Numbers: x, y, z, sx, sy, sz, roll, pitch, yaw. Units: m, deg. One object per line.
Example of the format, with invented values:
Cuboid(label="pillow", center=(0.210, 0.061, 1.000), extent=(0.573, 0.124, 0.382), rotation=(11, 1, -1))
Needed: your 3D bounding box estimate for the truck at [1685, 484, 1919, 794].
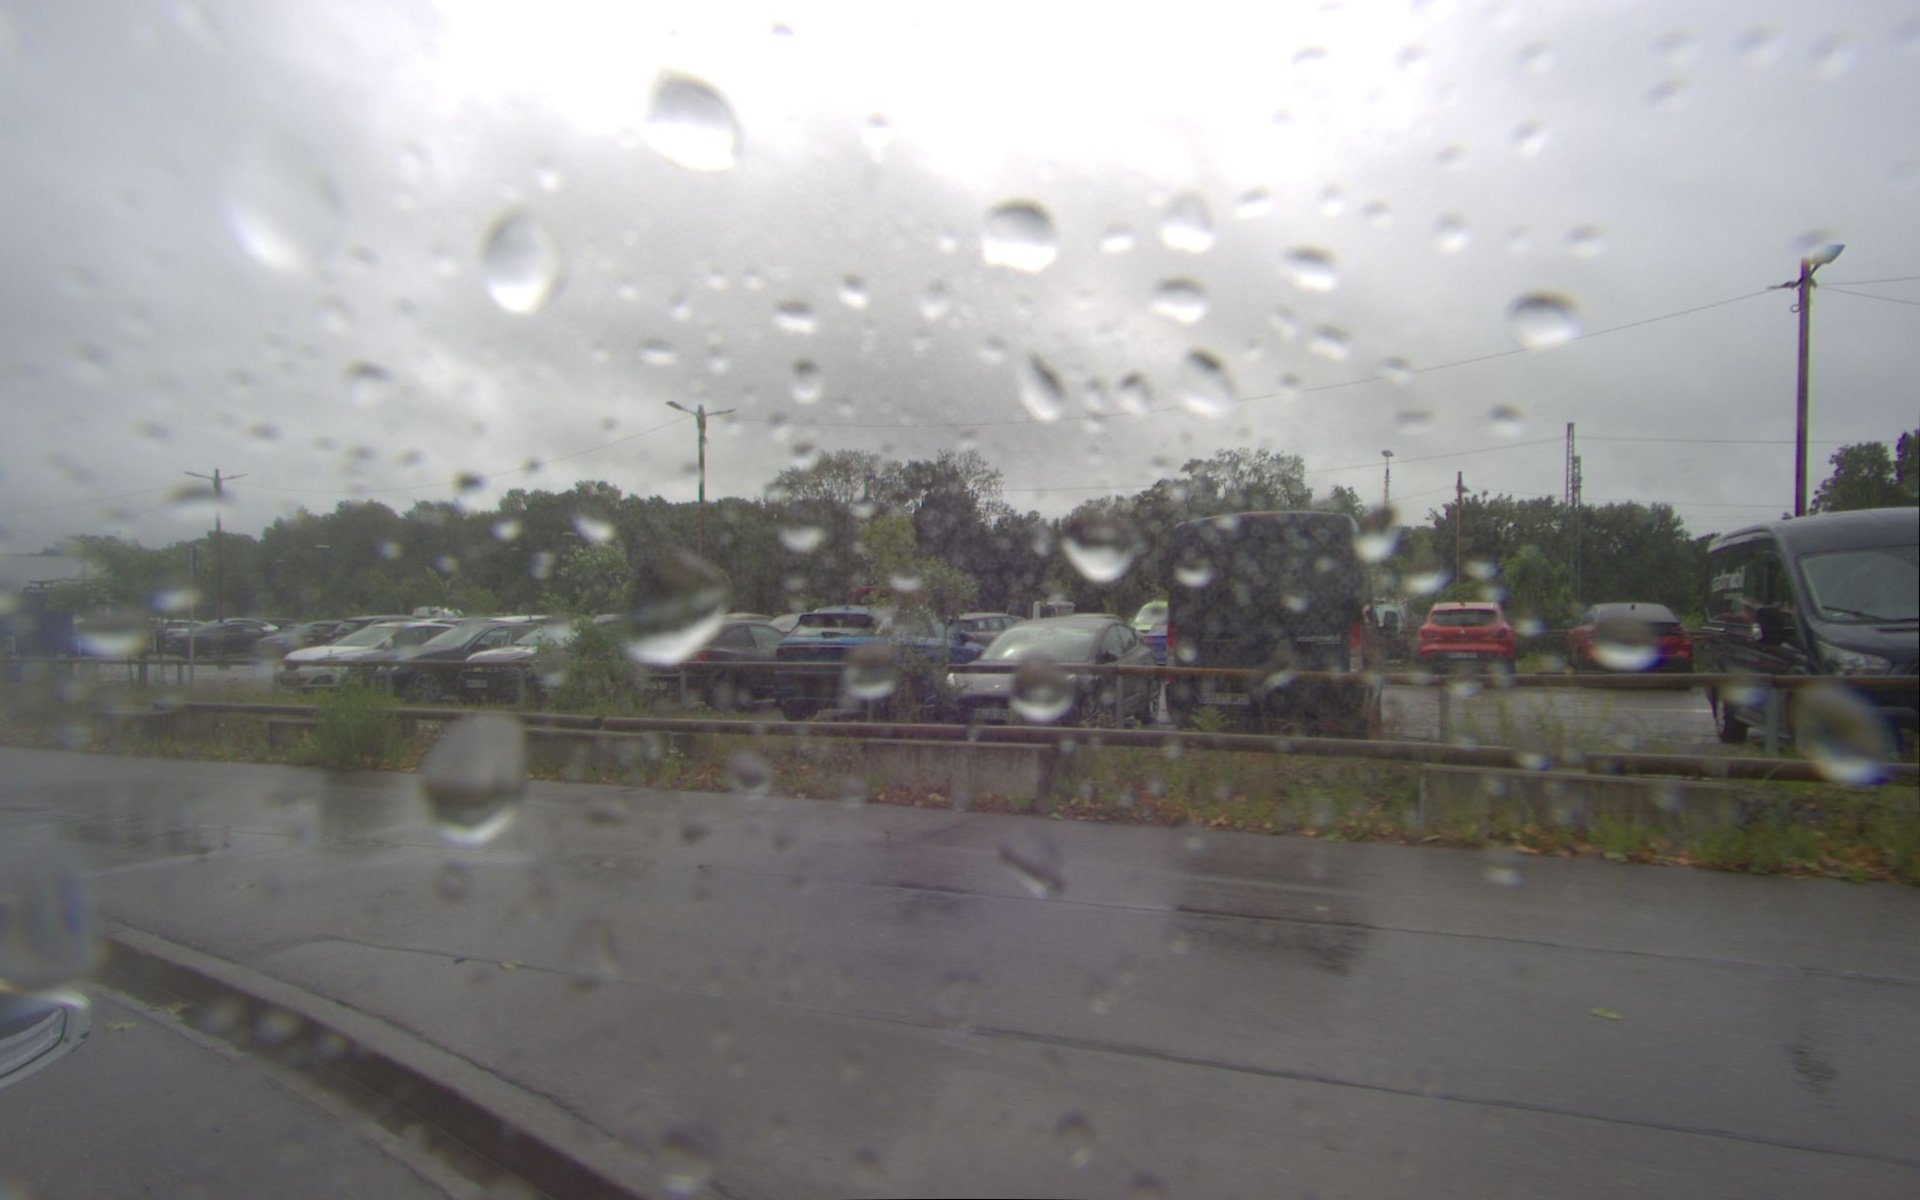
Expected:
Cuboid(label="truck", center=(8.844, 0.371, 9.781), extent=(2.042, 2.352, 5.328), rotation=(-1, -2, 27))

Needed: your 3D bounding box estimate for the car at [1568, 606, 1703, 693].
Cuboid(label="car", center=(13.084, 0.901, 19.613), extent=(1.815, 1.468, 3.981), rotation=(-2, 0, 29))

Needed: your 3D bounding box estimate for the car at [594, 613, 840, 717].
Cuboid(label="car", center=(-3.679, 0.978, 15.828), extent=(1.750, 1.412, 3.897), rotation=(-2, -2, 25))

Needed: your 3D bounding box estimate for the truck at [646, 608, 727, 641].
Cuboid(label="truck", center=(-17.853, 1.552, 65.315), extent=(5.198, 2.040, 2.079), rotation=(0, 0, 29))

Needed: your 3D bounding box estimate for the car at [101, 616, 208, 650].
Cuboid(label="car", center=(-43.217, 1.741, 53.813), extent=(1.897, 1.626, 4.055), rotation=(-2, 0, 28))

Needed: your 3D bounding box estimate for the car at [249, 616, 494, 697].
Cuboid(label="car", center=(-11.372, 1.072, 19.638), extent=(1.875, 1.411, 3.773), rotation=(-2, -2, 25))

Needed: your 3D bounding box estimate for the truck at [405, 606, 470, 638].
Cuboid(label="truck", center=(-41.107, 1.686, 78.778), extent=(5.004, 2.433, 2.071), rotation=(0, 0, 27))

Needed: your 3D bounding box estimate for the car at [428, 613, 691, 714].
Cuboid(label="car", center=(-6.414, 0.992, 16.482), extent=(1.750, 1.440, 3.897), rotation=(-2, -2, 25))

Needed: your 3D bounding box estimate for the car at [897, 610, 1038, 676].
Cuboid(label="car", center=(0.283, 1.034, 25.112), extent=(1.859, 1.446, 3.947), rotation=(-2, 0, 29))

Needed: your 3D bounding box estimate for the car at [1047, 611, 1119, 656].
Cuboid(label="car", center=(5.157, 1.379, 41.716), extent=(1.665, 1.788, 3.964), rotation=(-1, -2, 28))

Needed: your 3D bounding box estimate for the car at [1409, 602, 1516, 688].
Cuboid(label="car", center=(10.474, 0.859, 20.748), extent=(1.780, 1.557, 3.947), rotation=(-2, 0, 29))

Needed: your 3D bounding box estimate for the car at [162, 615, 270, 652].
Cuboid(label="car", center=(-38.061, 1.696, 51.335), extent=(1.803, 1.681, 4.058), rotation=(-2, 0, 25))

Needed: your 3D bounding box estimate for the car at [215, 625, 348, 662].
Cuboid(label="car", center=(-25.777, 1.634, 38.173), extent=(1.624, 1.237, 3.879), rotation=(-2, 0, 32))

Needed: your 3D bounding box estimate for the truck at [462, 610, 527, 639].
Cuboid(label="truck", center=(-35.092, 1.812, 75.433), extent=(5.011, 2.166, 2.068), rotation=(0, 0, 33))

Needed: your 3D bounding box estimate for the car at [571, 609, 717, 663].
Cuboid(label="car", center=(-9.377, 1.050, 29.965), extent=(1.859, 1.446, 3.947), rotation=(-2, 0, 29))

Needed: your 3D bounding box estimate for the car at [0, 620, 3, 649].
Cuboid(label="car", center=(-58.279, 1.972, 57.370), extent=(1.985, 1.737, 4.625), rotation=(-1, -2, 22))

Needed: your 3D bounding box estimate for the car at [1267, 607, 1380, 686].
Cuboid(label="car", center=(8.004, 0.949, 21.835), extent=(1.682, 1.499, 3.947), rotation=(-2, 0, 29))

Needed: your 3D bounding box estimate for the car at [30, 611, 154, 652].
Cuboid(label="car", center=(-38.690, 1.398, 44.709), extent=(1.760, 1.605, 3.768), rotation=(-2, 1, 30))

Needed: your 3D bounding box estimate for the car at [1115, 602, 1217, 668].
Cuboid(label="car", center=(6.243, 1.023, 30.020), extent=(1.771, 1.823, 3.981), rotation=(-1, -1, 31))

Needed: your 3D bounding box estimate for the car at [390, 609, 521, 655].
Cuboid(label="car", center=(-18.328, 1.138, 36.551), extent=(1.751, 1.509, 3.947), rotation=(-2, 0, 29))

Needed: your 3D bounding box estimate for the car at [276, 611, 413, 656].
Cuboid(label="car", center=(-22.852, 1.224, 37.318), extent=(1.842, 1.509, 3.947), rotation=(-2, 0, 29))

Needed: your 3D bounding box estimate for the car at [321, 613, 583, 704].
Cuboid(label="car", center=(-8.964, 1.018, 18.009), extent=(1.875, 1.440, 3.897), rotation=(-2, -2, 25))

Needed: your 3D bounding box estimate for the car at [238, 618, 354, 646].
Cuboid(label="car", center=(-30.364, 1.441, 45.929), extent=(1.803, 1.086, 4.058), rotation=(-2, 0, 25))

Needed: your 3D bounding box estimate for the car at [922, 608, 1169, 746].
Cuboid(label="car", center=(1.268, 0.896, 12.715), extent=(1.833, 1.438, 4.162), rotation=(-2, -2, 24))

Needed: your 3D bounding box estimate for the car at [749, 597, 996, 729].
Cuboid(label="car", center=(-1.090, 0.859, 14.421), extent=(1.866, 1.614, 3.897), rotation=(-2, -2, 25))

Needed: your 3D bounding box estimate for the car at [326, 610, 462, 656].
Cuboid(label="car", center=(-20.649, 1.172, 36.698), extent=(1.842, 1.509, 3.947), rotation=(-2, 0, 29))

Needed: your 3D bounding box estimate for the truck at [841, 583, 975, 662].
Cuboid(label="truck", center=(-1.616, 0.705, 33.320), extent=(2.119, 2.399, 5.286), rotation=(0, 0, 27))

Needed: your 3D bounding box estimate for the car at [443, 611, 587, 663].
Cuboid(label="car", center=(-14.247, 1.158, 32.239), extent=(1.751, 1.509, 3.947), rotation=(-2, 0, 29))

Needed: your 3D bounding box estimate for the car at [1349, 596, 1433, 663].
Cuboid(label="car", center=(11.675, 0.790, 27.013), extent=(1.738, 1.661, 3.984), rotation=(-1, -1, 28))

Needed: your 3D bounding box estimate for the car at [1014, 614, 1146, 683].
Cuboid(label="car", center=(2.983, 1.116, 24.236), extent=(1.794, 1.446, 3.947), rotation=(-2, 0, 29))

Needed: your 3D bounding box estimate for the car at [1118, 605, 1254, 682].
Cuboid(label="car", center=(5.199, 0.922, 22.615), extent=(1.897, 1.510, 4.060), rotation=(-2, 0, 29))

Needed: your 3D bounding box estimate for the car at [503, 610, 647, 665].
Cuboid(label="car", center=(-11.883, 1.127, 31.126), extent=(1.751, 1.509, 3.947), rotation=(-2, 0, 29))

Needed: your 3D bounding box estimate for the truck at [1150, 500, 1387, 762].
Cuboid(label="truck", center=(3.921, 0.379, 12.036), extent=(2.076, 2.433, 5.035), rotation=(-1, -2, 25))

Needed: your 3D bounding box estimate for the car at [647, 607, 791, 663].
Cuboid(label="car", center=(-6.932, 0.987, 29.160), extent=(1.859, 1.446, 3.947), rotation=(-2, 0, 29))

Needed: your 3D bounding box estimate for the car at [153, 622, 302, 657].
Cuboid(label="car", center=(-30.022, 1.598, 41.200), extent=(1.947, 1.237, 4.585), rotation=(-2, 0, 26))
